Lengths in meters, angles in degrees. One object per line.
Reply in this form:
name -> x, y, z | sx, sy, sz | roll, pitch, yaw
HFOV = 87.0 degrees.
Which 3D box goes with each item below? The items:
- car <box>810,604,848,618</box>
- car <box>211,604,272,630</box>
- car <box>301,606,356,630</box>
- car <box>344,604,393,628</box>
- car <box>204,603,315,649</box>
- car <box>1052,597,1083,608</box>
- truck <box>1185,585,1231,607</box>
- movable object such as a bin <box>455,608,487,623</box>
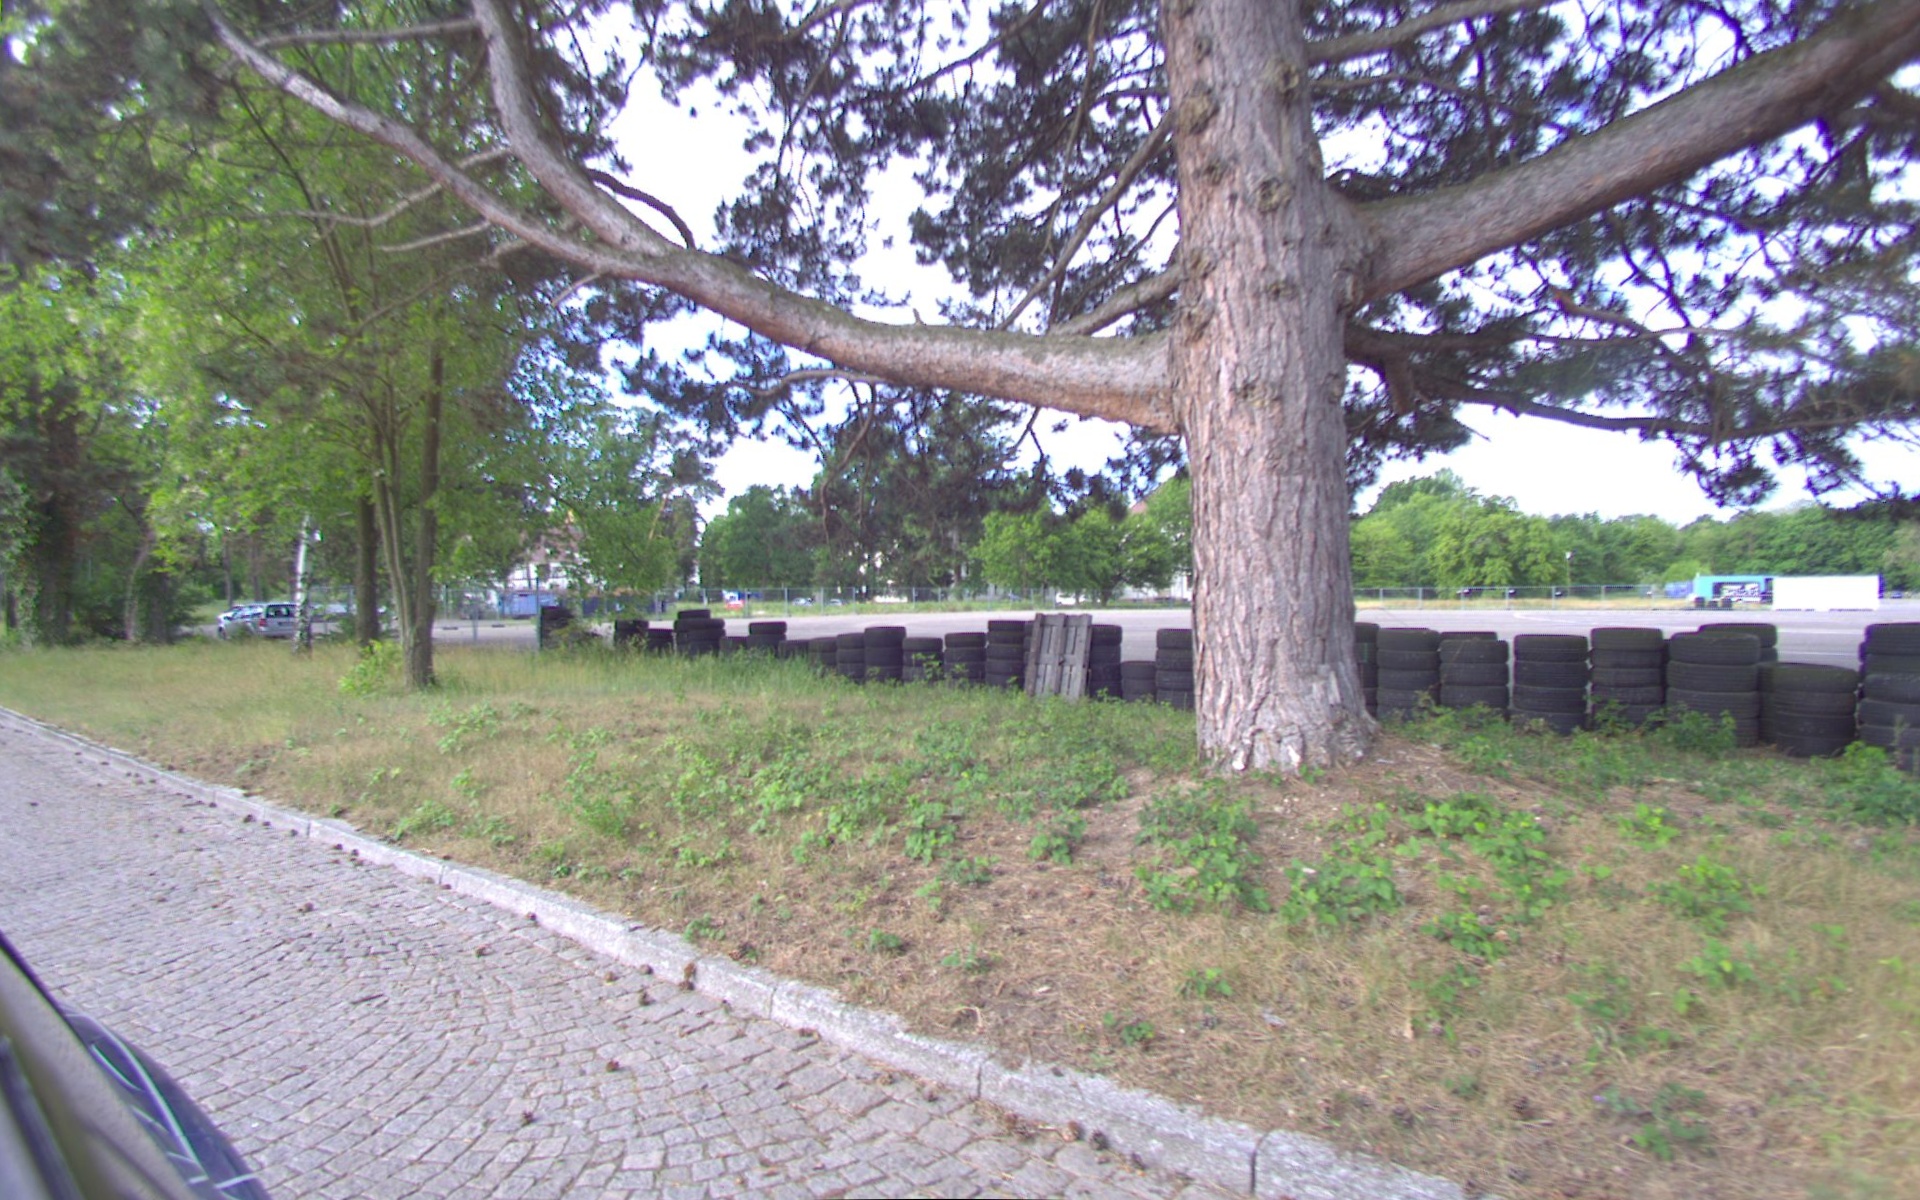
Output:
car -> -15.894, 1.305, 122.878 | 4.575, 1.533, 1.819 | -3, -1, 36
car -> -46.599, 1.116, 65.625 | 4.646, 1.461, 1.819 | -3, -1, 36
car -> -43.657, 1.223, 69.926 | 4.579, 1.480, 1.817 | -3, -1, 39
car -> -42.278, 1.170, 72.299 | 4.109, 1.533, 1.715 | -3, -1, 39
car -> -23.682, 0.848, 34.162 | 4.458, 1.449, 1.700 | -1, 0, 36
car -> 16.855, 0.451, 158.336 | 4.575, 1.645, 1.819 | -1, 0, 36
truck -> 26.738, -0.443, 108.990 | 2.371, 2.215, 6.472 | -1, 0, 38
movable object such as a bin -> -31.399, 0.998, 64.973 | 1.929, 0.940, 1.030 | -1, -1, 32
